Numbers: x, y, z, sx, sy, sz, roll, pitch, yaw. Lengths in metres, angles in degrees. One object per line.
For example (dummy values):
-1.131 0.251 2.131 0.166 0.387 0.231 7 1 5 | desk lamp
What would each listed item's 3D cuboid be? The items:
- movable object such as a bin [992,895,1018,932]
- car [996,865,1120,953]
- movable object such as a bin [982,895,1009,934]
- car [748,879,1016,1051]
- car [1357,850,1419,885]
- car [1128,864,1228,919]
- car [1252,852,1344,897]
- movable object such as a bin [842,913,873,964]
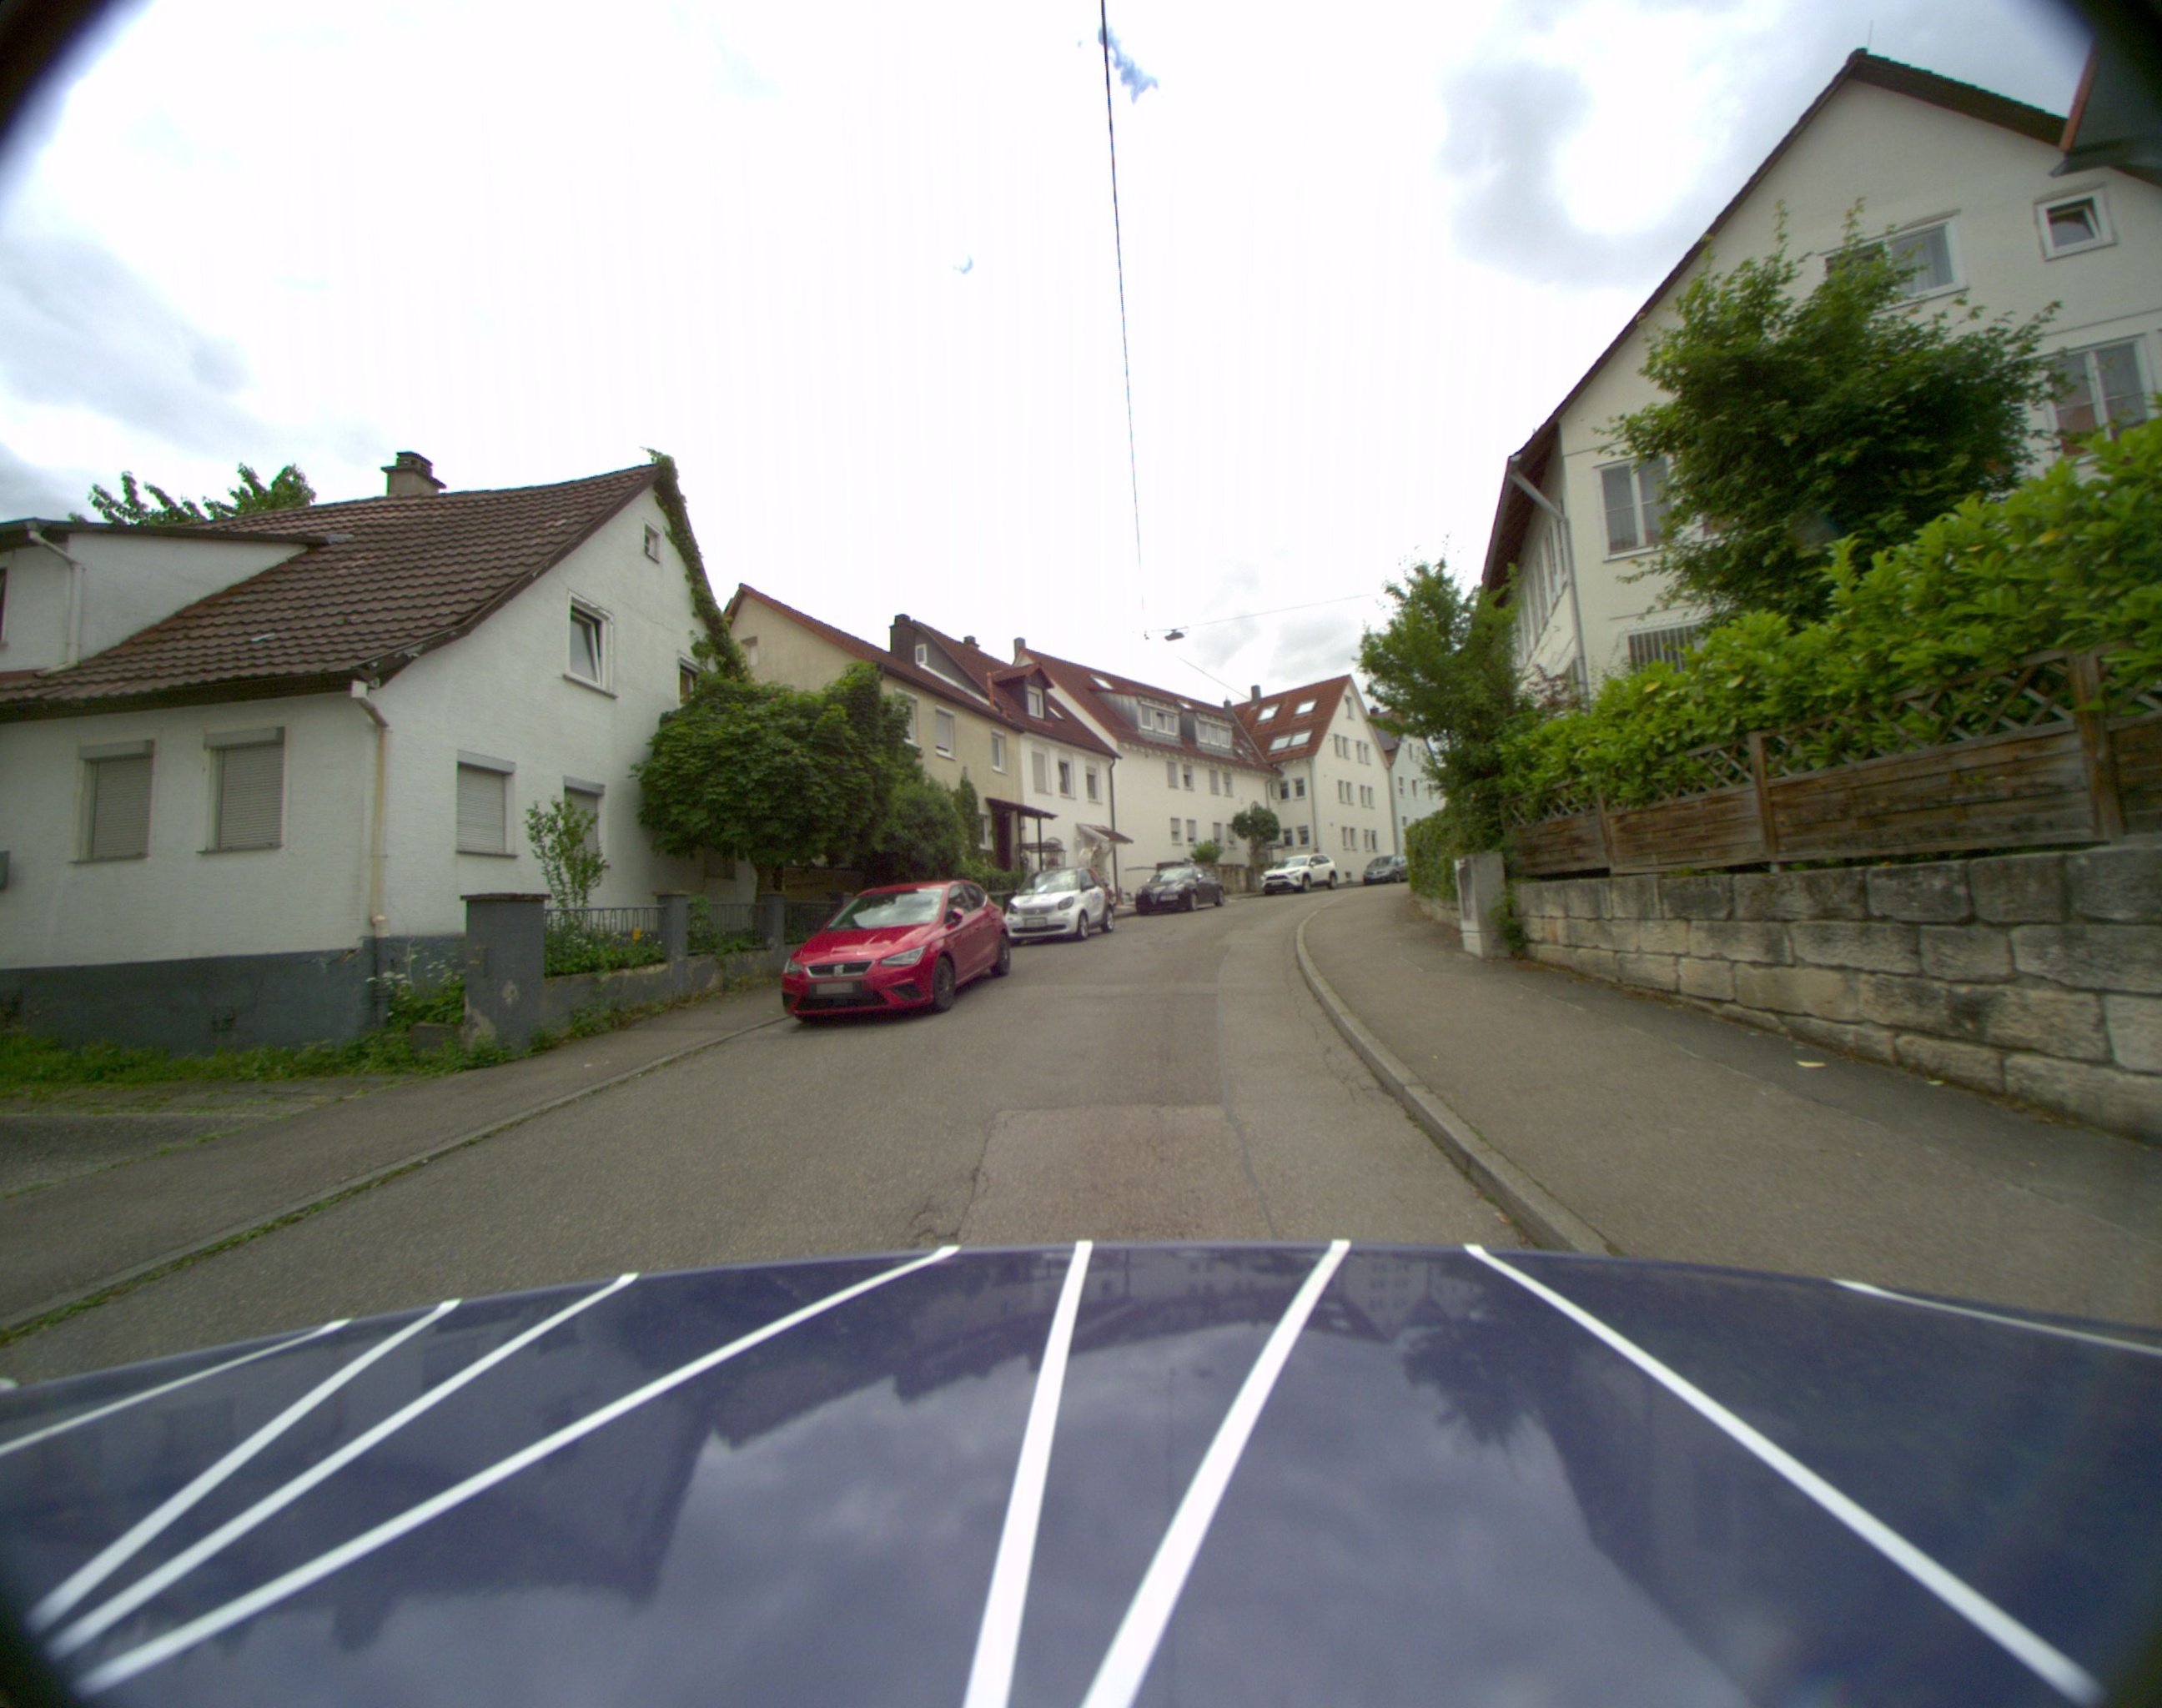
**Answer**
-1.901 1.487 19.080 0.438 0.893 0.446 -1 2 24 | movable object such as a bin
-0.403 1.136 16.526 1.614 1.523 2.901 -8 -2 19 | car
-2.089 1.485 18.612 0.438 0.908 0.446 -1 2 24 | movable object such as a bin
-2.157 1.175 9.431 1.682 1.443 3.854 -5 0 9 | car
16.412 0.709 40.553 1.737 1.553 3.916 -9 -5 40 | car
3.150 1.124 23.985 1.720 1.398 4.010 -7 -3 28 | car
9.507 0.853 33.105 1.948 1.629 4.470 -9 -5 41 | car
-4.351 1.646 14.794 0.372 0.944 0.375 -3 0 21 | movable object such as a bin
